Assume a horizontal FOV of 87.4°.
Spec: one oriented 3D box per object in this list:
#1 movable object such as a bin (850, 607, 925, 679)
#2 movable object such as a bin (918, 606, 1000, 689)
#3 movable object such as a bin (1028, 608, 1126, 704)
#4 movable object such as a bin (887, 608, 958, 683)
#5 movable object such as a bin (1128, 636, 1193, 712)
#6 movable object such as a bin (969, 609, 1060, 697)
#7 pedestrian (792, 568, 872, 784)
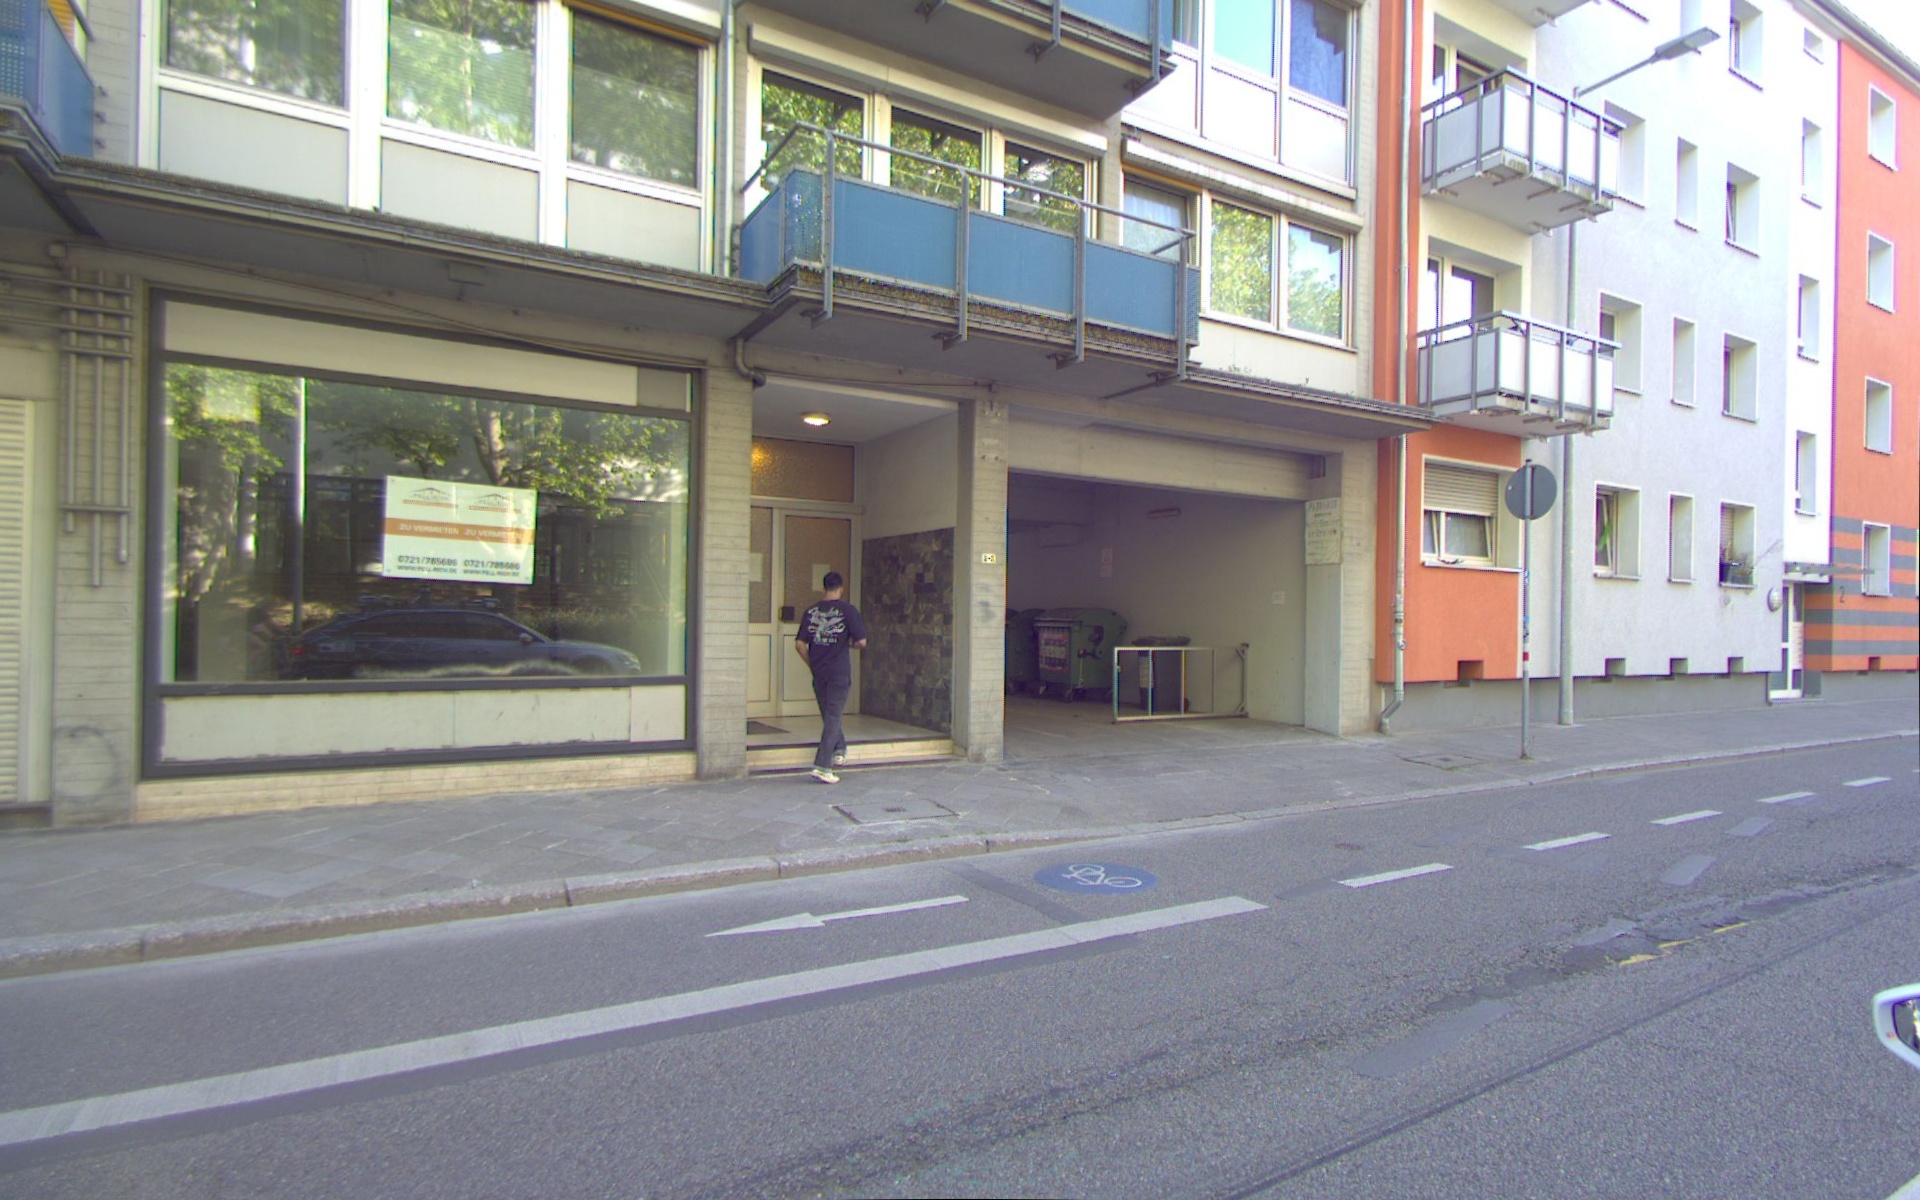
[{"bbox_3d":[-1.502,0.866,20.651,1.014,1.409,1.264,1,0,-37],"label":"movable object such as a bin"},{"bbox_3d":[-0.032,0.852,18.665,1.011,1.462,1.318,1,0,-29],"label":"movable object such as a bin"},{"bbox_3d":[1.824,0.850,15.823,1.009,1.438,1.321,1,0,-23],"label":"movable object such as a bin"},{"bbox_3d":[-0.738,0.870,19.679,1.012,1.409,1.046,1,0,-31],"label":"movable object such as a bin"},{"bbox_3d":[2.884,1.049,14.473,0.704,1.054,0.583,1,0,-30],"label":"movable object such as a bin"},{"bbox_3d":[0.914,0.879,17.170,1.011,1.409,1.319,1,0,-27],"label":"movable object such as a bin"},{"bbox_3d":[-1.086,0.627,8.506,0.619,1.764,0.527,1,0,-8],"label":"pedestrian"}]
